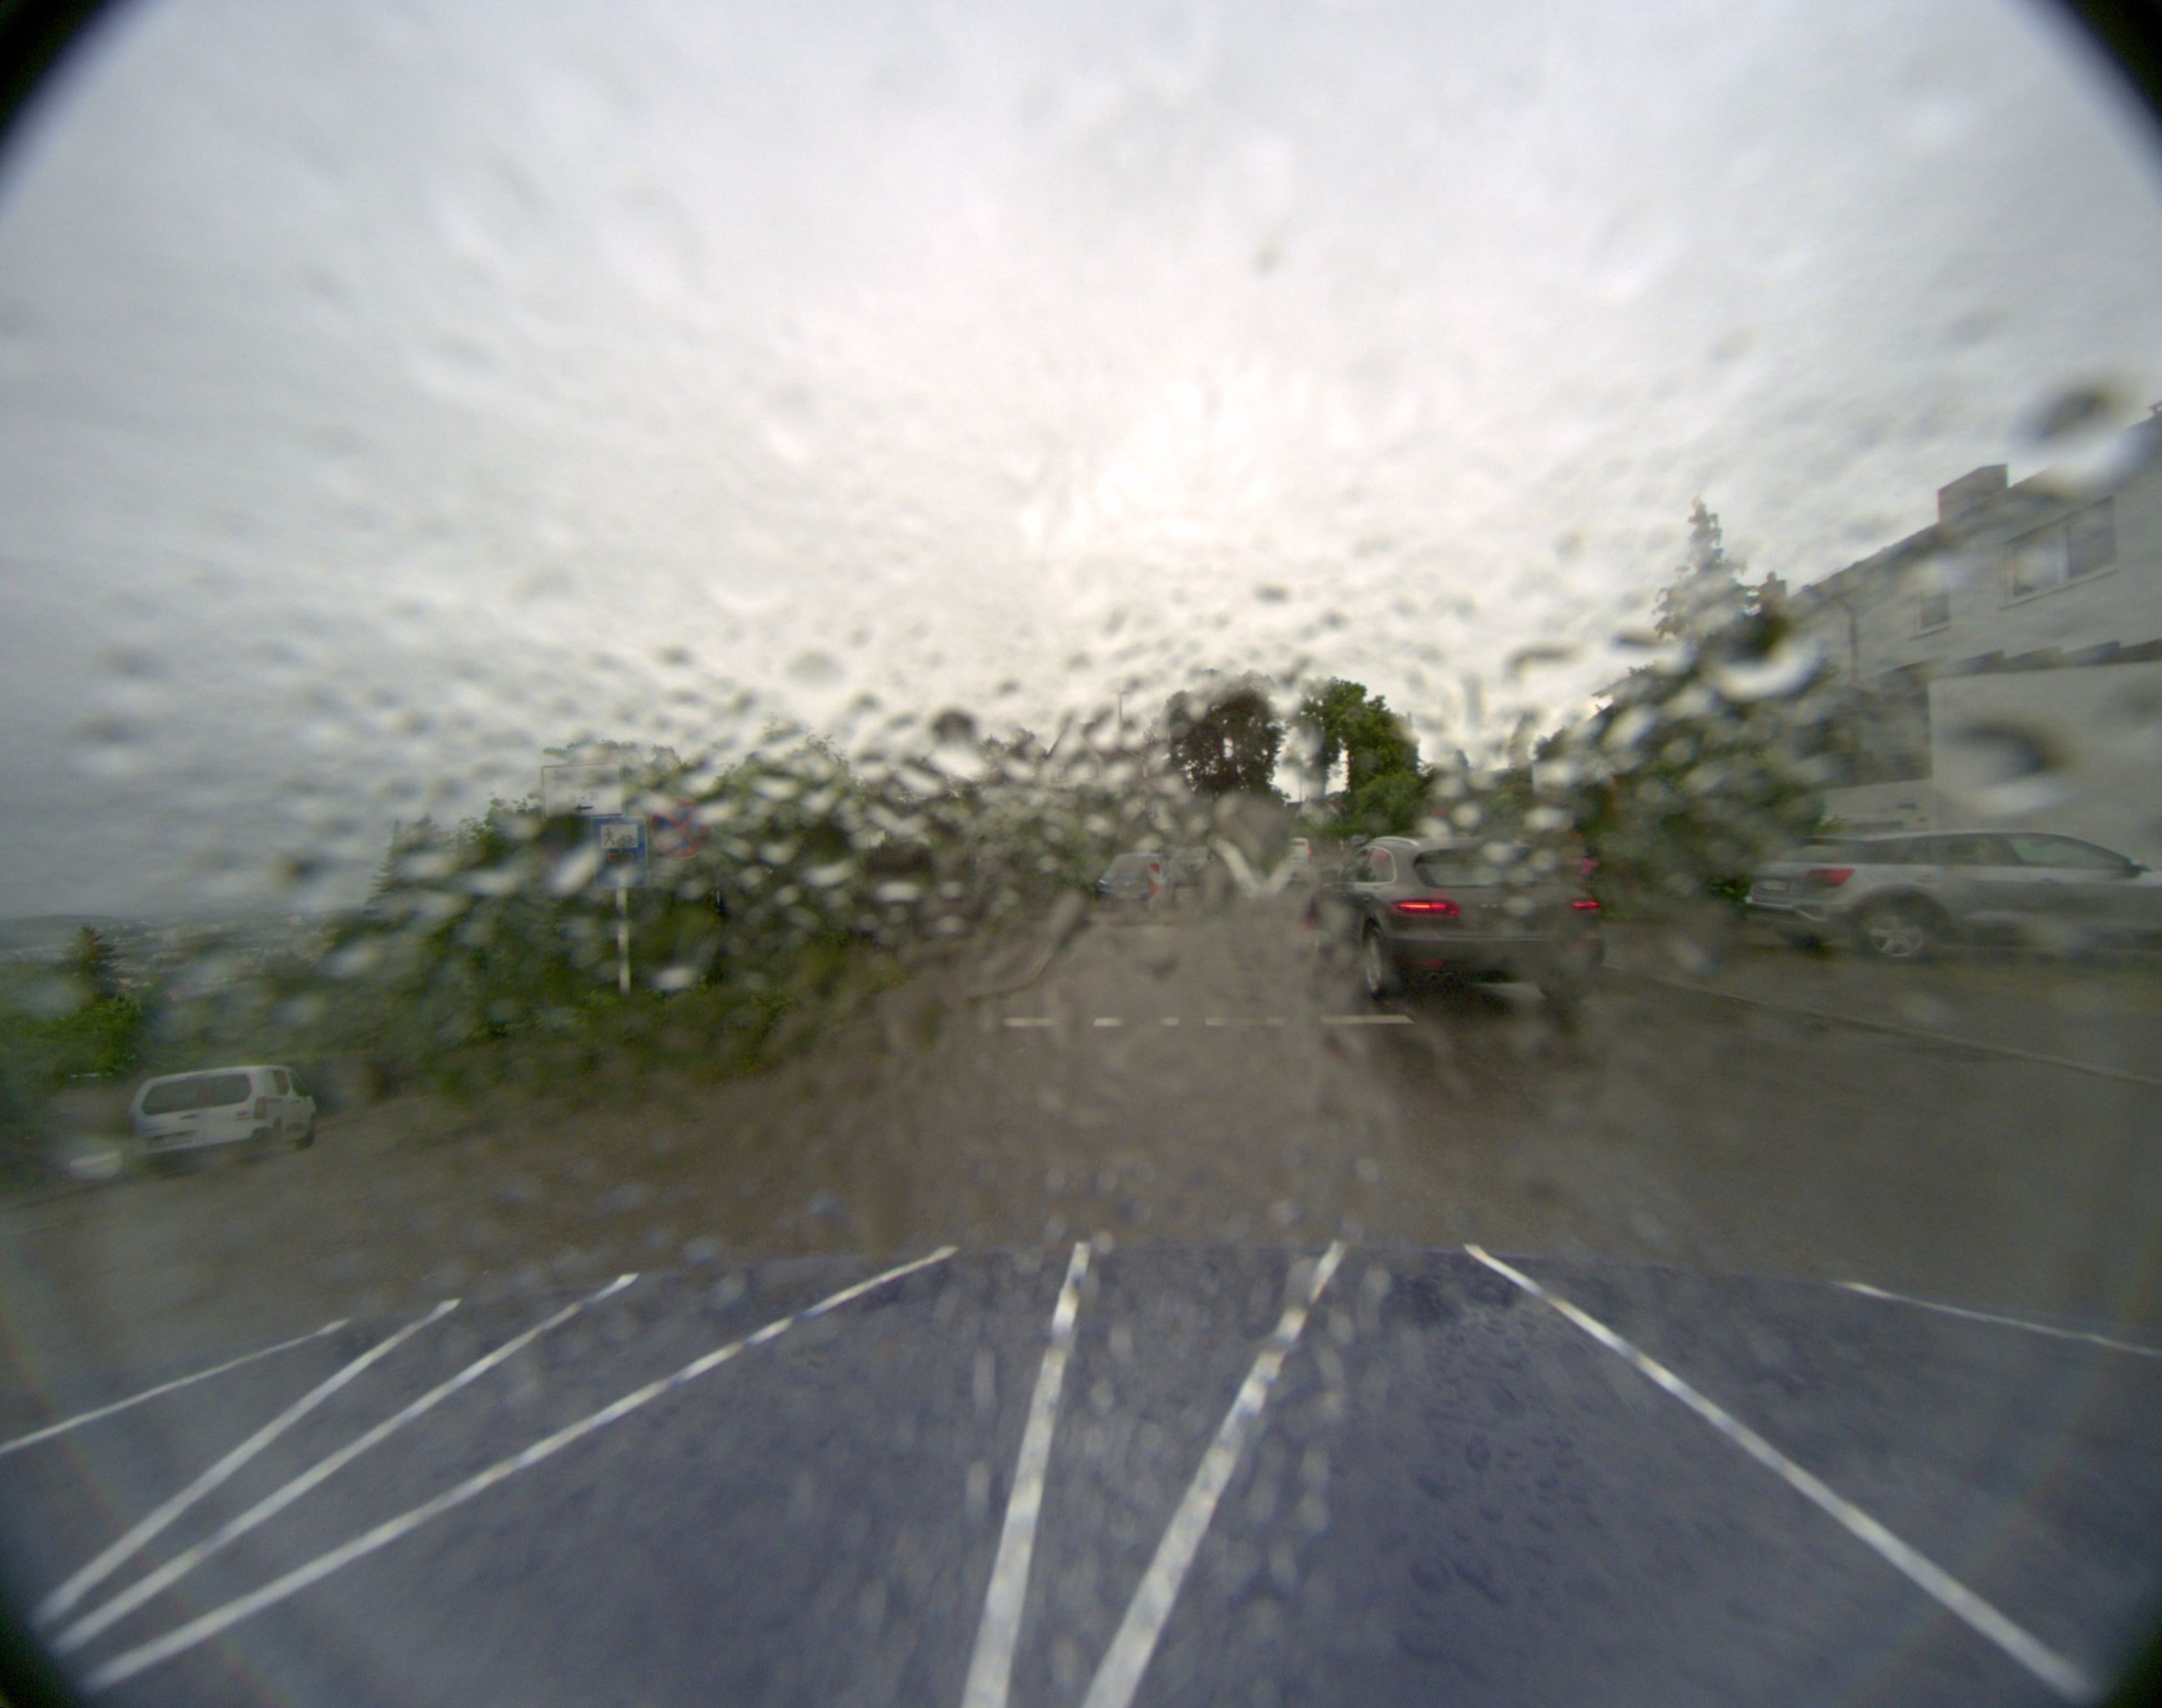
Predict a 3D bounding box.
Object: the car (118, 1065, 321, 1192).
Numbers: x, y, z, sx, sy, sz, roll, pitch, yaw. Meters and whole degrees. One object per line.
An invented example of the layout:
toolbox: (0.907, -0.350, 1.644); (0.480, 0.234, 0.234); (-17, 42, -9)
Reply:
car: (-16.524, 5.177, 14.830); (1.757, 1.728, 3.997); (-3, -11, -36)

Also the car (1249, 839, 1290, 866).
car: (12.624, -0.140, 50.761); (1.662, 1.630, 4.222); (-2, 1, 27)

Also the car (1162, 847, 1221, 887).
car: (4.849, 0.502, 32.893); (1.904, 1.532, 4.220); (-2, 1, 17)

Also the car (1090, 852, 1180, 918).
car: (1.544, 0.747, 20.117); (1.798, 1.460, 4.219); (-2, 1, 12)

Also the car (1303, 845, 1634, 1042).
car: (3.799, 0.727, 8.373); (1.792, 1.585, 4.217); (-2, 1, 5)

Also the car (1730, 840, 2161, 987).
car: (10.266, 0.589, 8.650); (3.991, 1.432, 1.770); (0, 2, 17)

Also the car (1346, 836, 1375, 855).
car: (26.144, -0.826, 71.042); (1.662, 1.630, 4.223); (-2, 1, 33)

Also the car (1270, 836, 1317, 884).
car: (9.047, 0.213, 32.254); (1.779, 1.854, 4.220); (-1, 1, 16)
